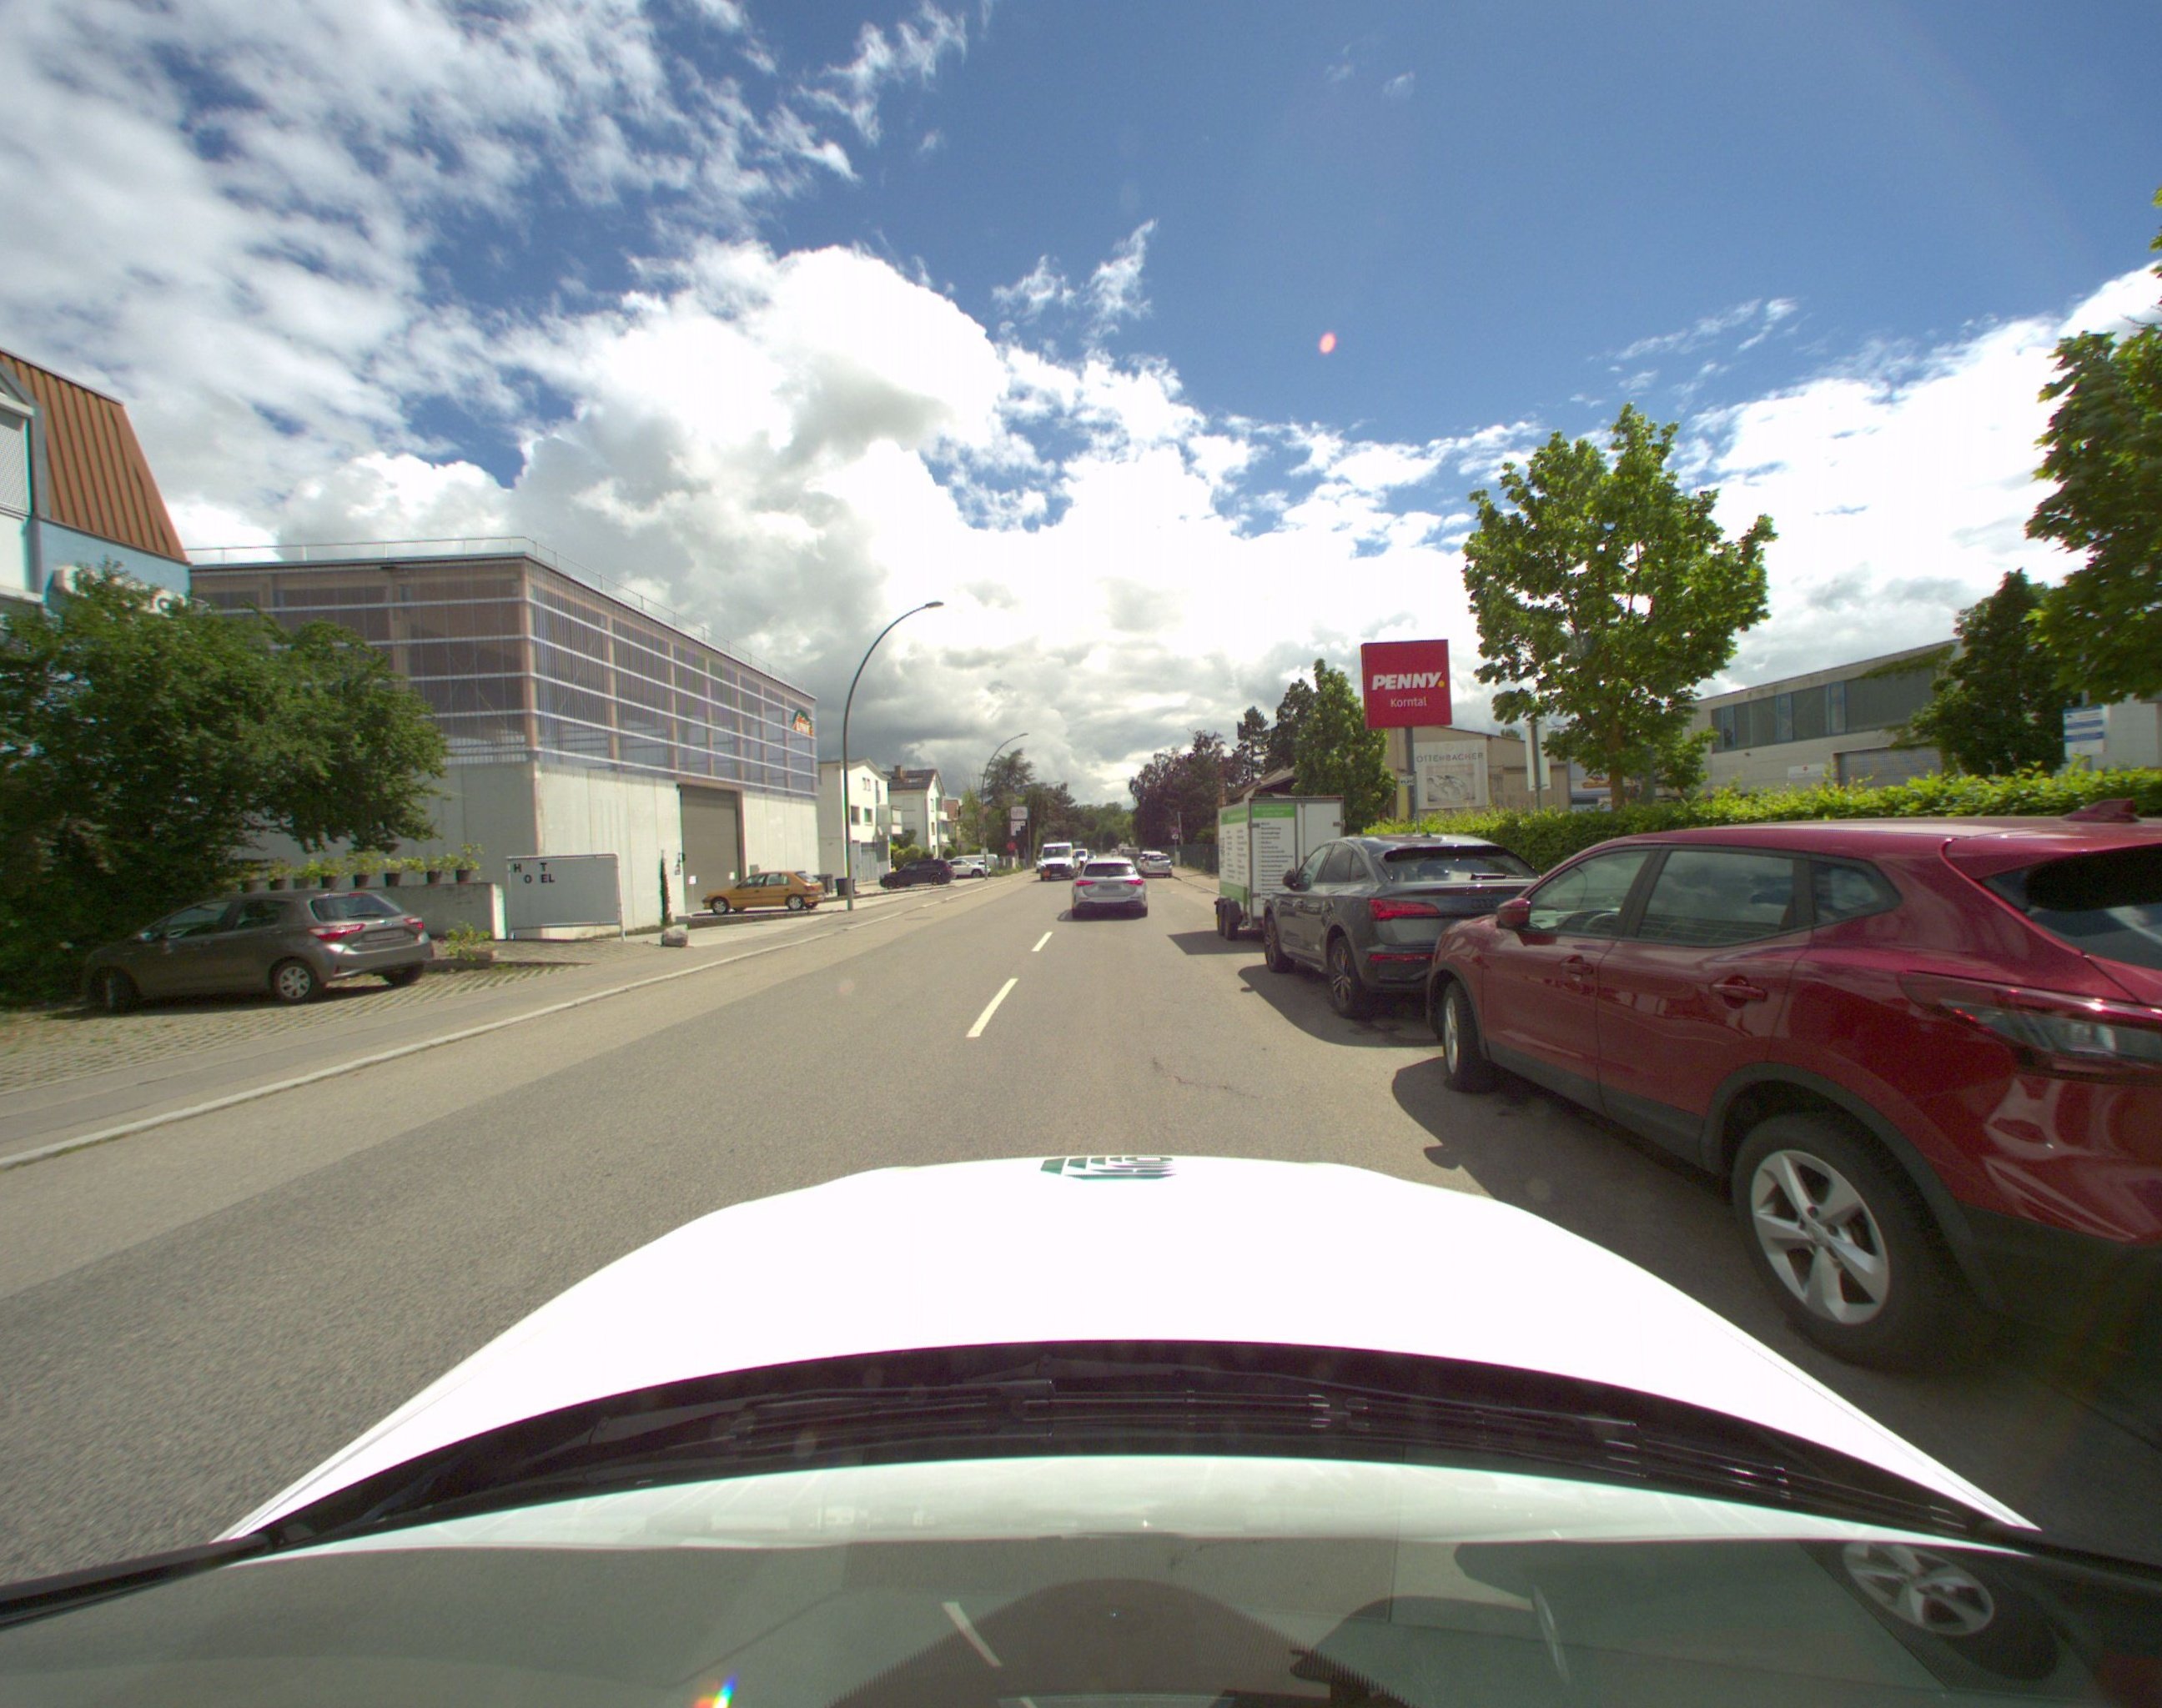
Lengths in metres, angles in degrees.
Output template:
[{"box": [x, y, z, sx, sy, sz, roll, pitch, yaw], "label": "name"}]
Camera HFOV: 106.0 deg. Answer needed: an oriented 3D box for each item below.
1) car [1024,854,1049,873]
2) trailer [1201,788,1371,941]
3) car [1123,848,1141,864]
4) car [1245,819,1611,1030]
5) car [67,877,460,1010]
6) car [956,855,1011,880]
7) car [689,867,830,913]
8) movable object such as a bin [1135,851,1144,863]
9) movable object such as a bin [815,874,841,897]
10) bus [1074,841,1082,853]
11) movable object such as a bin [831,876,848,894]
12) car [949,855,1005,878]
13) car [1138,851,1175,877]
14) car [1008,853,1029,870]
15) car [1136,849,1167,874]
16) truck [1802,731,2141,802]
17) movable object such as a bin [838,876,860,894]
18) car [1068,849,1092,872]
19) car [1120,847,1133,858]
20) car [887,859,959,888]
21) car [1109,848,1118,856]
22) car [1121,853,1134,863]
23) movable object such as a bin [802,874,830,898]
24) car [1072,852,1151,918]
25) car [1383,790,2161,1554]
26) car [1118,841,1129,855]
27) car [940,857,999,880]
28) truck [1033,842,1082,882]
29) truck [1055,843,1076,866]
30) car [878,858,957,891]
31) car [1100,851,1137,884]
[{"box": [-4.036, 0.851, 74.587, 1.785, 1.603, 4.365, -3, 0, 2], "label": "car"}, {"box": [3.526, 0.163, 14.939, 1.935, 2.294, 4.446, -3, 0, 1], "label": "trailer"}, {"box": [6.852, 0.260, 109.606, 2.136, 1.984, 5.264, -3, 0, 2], "label": "car"}, {"box": [3.202, 0.542, 8.672, 1.935, 1.571, 4.445, -3, 0, 0], "label": "car"}, {"box": [-11.426, 1.205, 11.598, 3.612, 1.532, 1.982, -2, 0, 3], "label": "car"}, {"box": [-8.261, 1.140, 69.296, 4.265, 1.836, 1.991, -3, -3, 0], "label": "car"}, {"box": [-11.058, 1.222, 28.255, 4.139, 1.491, 1.824, 0, 0, -2], "label": "car"}, {"box": [6.752, 0.352, 94.215, 1.080, 1.271, 1.381, 0, 0, 2], "label": "movable object such as a bin"}, {"box": [-16.005, 1.978, 51.548, 0.953, 1.356, 1.820, -3, 0, 3], "label": "movable object such as a bin"}, {"box": [-0.794, -1.981, 234.468, 1.989, 3.364, 6.974, 0, 0, -3], "label": "bus"}, {"box": [-14.148, 1.810, 47.727, 0.740, 1.030, 0.712, -4, 0, 3], "label": "movable object such as a bin"}, {"box": [-8.487, 1.039, 66.831, 4.265, 1.567, 1.991, -3, -3, 0], "label": "car"}, {"box": [4.645, 0.599, 50.629, 1.786, 1.450, 4.362, -3, 0, 0], "label": "car"}, {"box": [-6.662, 0.794, 87.623, 1.988, 1.657, 3.997, -3, 1, -2], "label": "car"}, {"box": [4.827, 0.481, 56.371, 1.785, 1.552, 4.574, -3, 0, 1], "label": "car"}, {"box": [40.260, -3.915, 37.146, 11.932, 2.865, 2.981, 0, 0, 2], "label": "truck"}, {"box": [-13.917, 1.853, 48.838, 0.740, 0.919, 1.520, -4, 0, 3], "label": "movable object such as a bin"}, {"box": [-0.049, 0.567, 73.952, 1.986, 1.888, 5.118, -3, 0, 1], "label": "car"}, {"box": [7.489, -0.276, 134.811, 1.779, 1.715, 4.316, -1, 0, 0], "label": "car"}, {"box": [-10.753, 1.325, 55.688, 4.450, 1.505, 1.824, -5, 1, -2], "label": "car"}, {"box": [6.914, -0.423, 173.198, 1.749, 1.558, 4.001, -2, 0, 1], "label": "car"}, {"box": [7.351, 0.679, 129.765, 1.779, 1.484, 4.316, -1, 0, 0], "label": "car"}, {"box": [-16.160, 1.943, 49.680, 0.953, 1.356, 1.820, -3, 0, 3], "label": "movable object such as a bin"}, {"box": [0.699, 0.720, 20.733, 1.779, 1.484, 4.316, -1, 0, 0], "label": "car"}, {"box": [3.125, 0.596, 3.857, 1.933, 1.571, 4.450, -3, 0, 4], "label": "car"}, {"box": [7.667, -1.105, 147.162, 1.779, 2.518, 4.316, -1, 0, 0], "label": "car"}, {"box": [-8.750, 1.159, 64.031, 4.263, 1.567, 1.992, -3, -3, 2], "label": "car"}, {"box": [-1.397, 0.430, 50.768, 2.309, 2.178, 6.456, -3, 0, 4], "label": "truck"}, {"box": [-2.013, -0.019, 108.116, 2.066, 2.814, 7.083, -3, 0, 3], "label": "truck"}, {"box": [-10.641, 1.333, 53.202, 4.615, 1.632, 2.196, -5, 1, -2], "label": "car"}, {"box": [1.891, 0.684, 42.387, 1.749, 1.558, 4.001, -2, 0, 1], "label": "car"}]
